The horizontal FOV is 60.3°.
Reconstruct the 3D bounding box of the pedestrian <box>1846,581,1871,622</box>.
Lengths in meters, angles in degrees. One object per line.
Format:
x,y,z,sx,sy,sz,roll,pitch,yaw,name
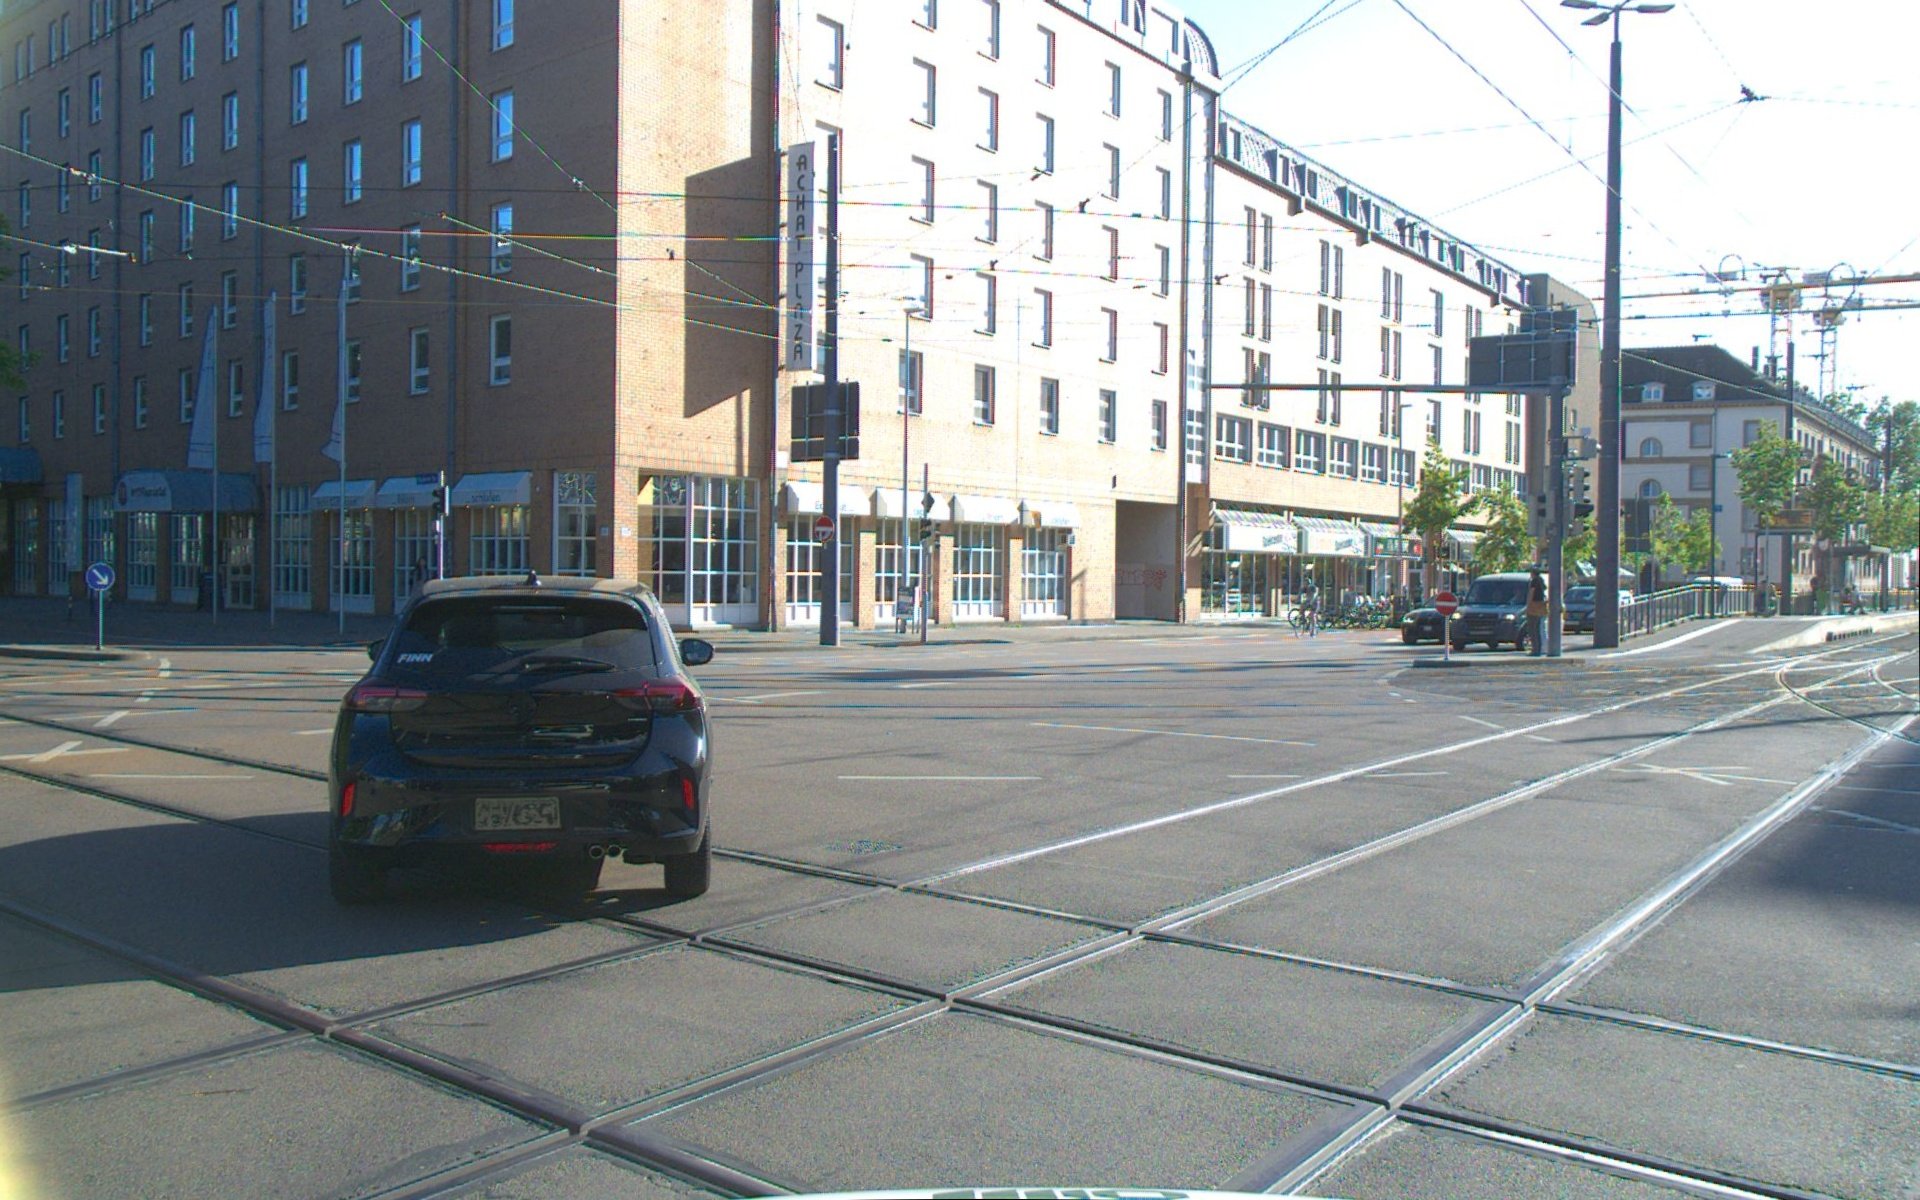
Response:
38.237,0.060,70.374,0.844,1.699,0.737,2,2,26,pedestrian

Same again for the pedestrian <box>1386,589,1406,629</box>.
19.772,0.388,75.006,0.705,1.795,0.563,0,0,39,pedestrian

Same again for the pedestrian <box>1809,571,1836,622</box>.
33.277,-0.128,63.852,0.844,1.919,0.737,2,2,26,pedestrian

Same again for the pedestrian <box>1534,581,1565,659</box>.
12.365,0.418,34.676,0.568,1.604,0.646,1,0,22,pedestrian

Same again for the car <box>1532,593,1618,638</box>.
21.138,0.521,56.758,1.807,1.474,4.284,-1,-1,34,car

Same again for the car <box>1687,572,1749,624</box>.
46.710,-0.189,101.780,2.335,3.051,8.448,1,1,32,car

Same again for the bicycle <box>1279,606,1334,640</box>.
10.768,0.704,51.323,0.795,1.008,2.501,1,0,34,bicycle

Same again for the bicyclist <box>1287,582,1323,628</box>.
10.693,0.144,51.214,0.796,1.401,0.923,1,0,34,bicyclist

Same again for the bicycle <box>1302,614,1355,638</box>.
13.818,0.970,62.101,0.479,0.860,2.008,0,0,-43,bicycle

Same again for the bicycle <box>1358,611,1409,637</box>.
16.593,0.937,64.865,0.479,0.937,2.008,0,0,-43,bicycle

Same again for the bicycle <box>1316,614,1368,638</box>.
14.520,0.968,62.916,0.479,0.860,2.008,0,0,-43,bicycle

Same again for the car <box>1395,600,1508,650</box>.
13.436,0.661,45.049,1.807,1.291,4.217,-1,-1,34,car

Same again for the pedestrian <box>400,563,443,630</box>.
-13.762,-0.096,42.267,0.739,1.695,0.738,1,1,38,pedestrian

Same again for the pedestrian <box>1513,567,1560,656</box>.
11.518,0.222,33.040,0.709,1.757,0.592,1,0,37,pedestrian

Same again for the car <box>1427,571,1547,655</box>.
12.586,0.310,39.352,1.805,1.868,4.098,-1,-1,31,car

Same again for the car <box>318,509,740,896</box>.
-2.257,0.398,8.532,1.645,1.528,3.673,1,0,-17,car

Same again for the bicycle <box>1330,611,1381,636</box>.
15.333,0.907,64.137,0.479,0.937,2.008,0,0,-43,bicycle

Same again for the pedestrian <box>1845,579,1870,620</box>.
38.580,-0.019,71.097,0.844,1.699,0.784,2,2,26,pedestrian
